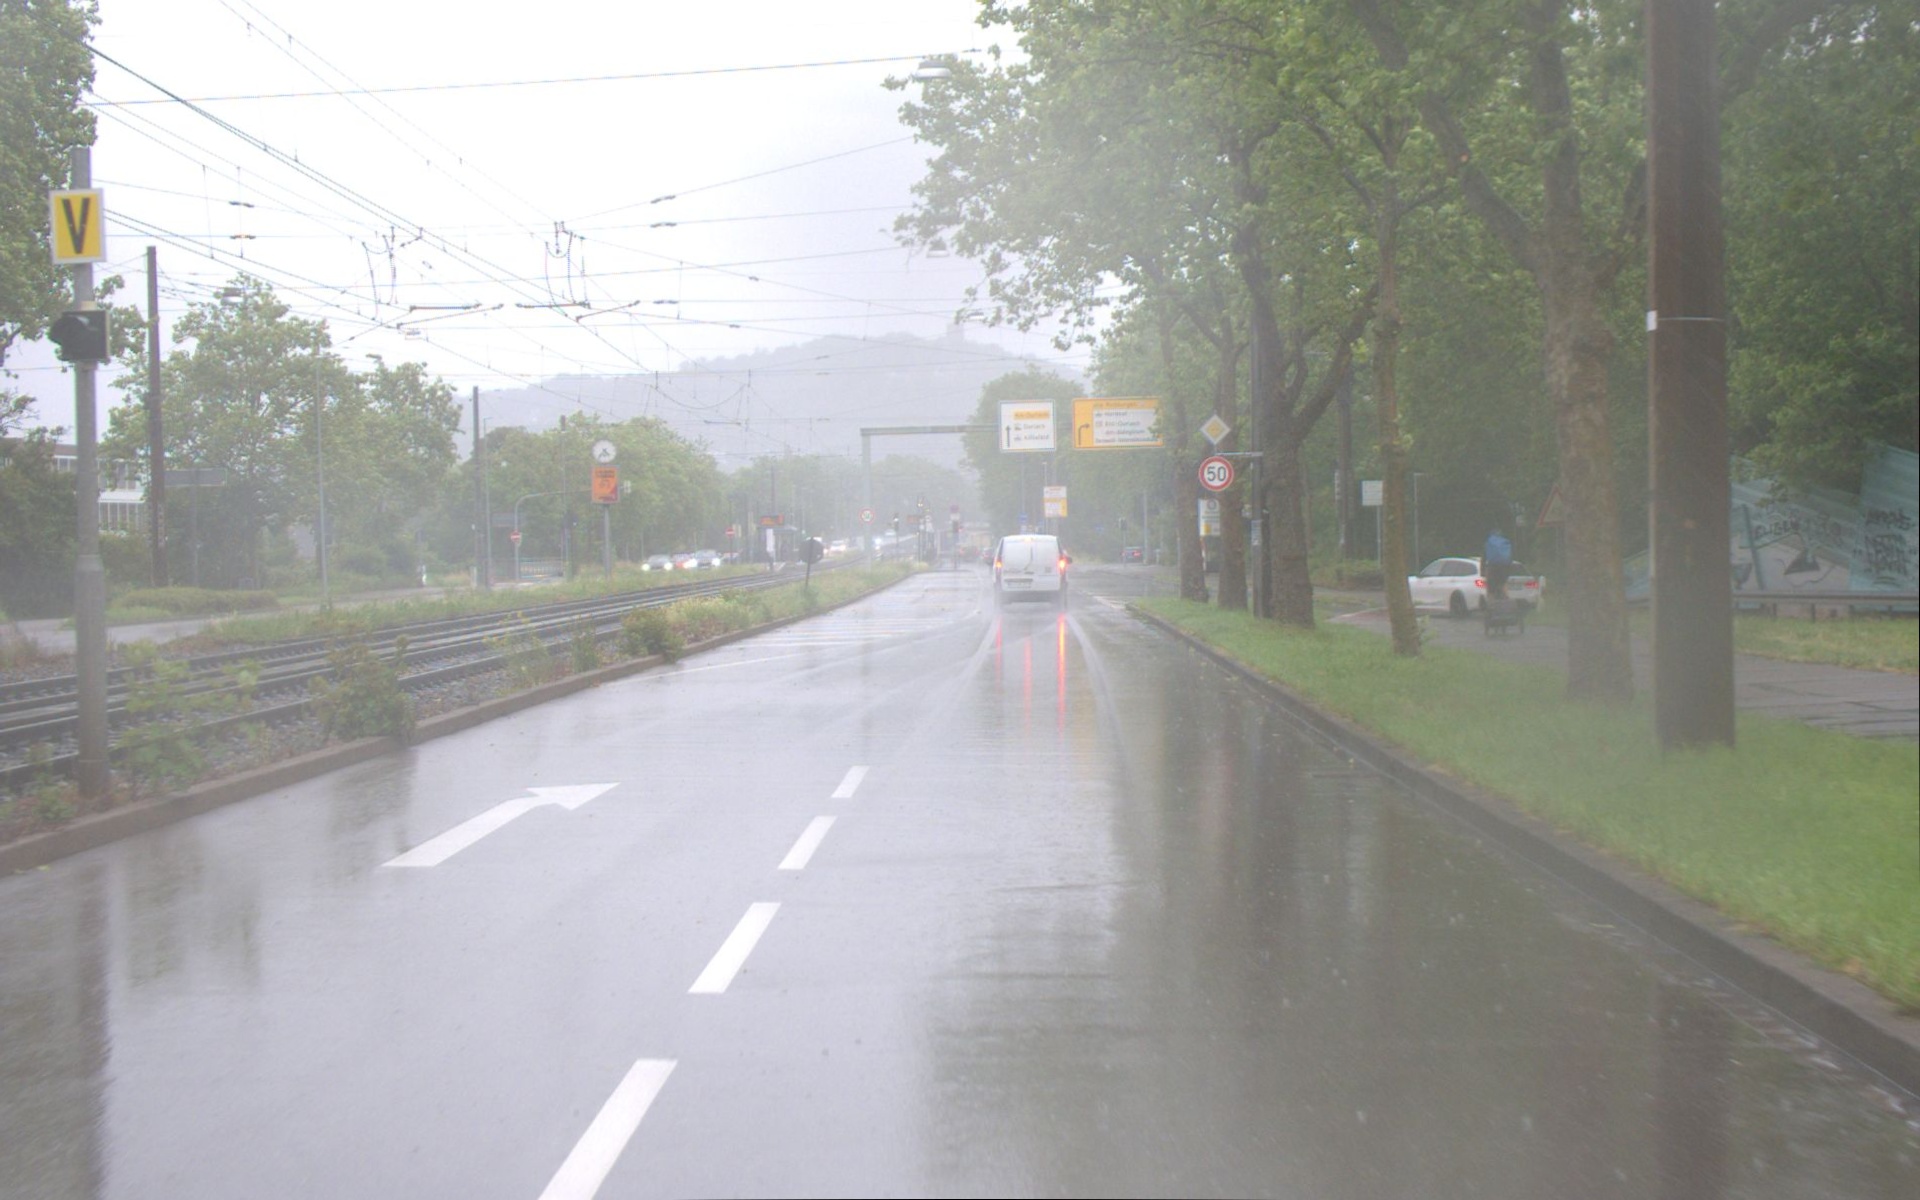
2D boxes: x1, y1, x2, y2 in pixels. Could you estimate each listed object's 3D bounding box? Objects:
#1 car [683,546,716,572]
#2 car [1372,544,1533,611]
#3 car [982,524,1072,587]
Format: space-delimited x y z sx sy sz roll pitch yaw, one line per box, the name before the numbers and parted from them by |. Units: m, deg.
car | -16.671 -2.645 220.080 1.943 1.610 4.989 -1 1 -3
car | 11.698 -0.541 81.897 1.948 1.531 4.468 -1 1 -19
car | 1.588 -1.081 82.989 2.077 1.415 4.000 -2 1 0
